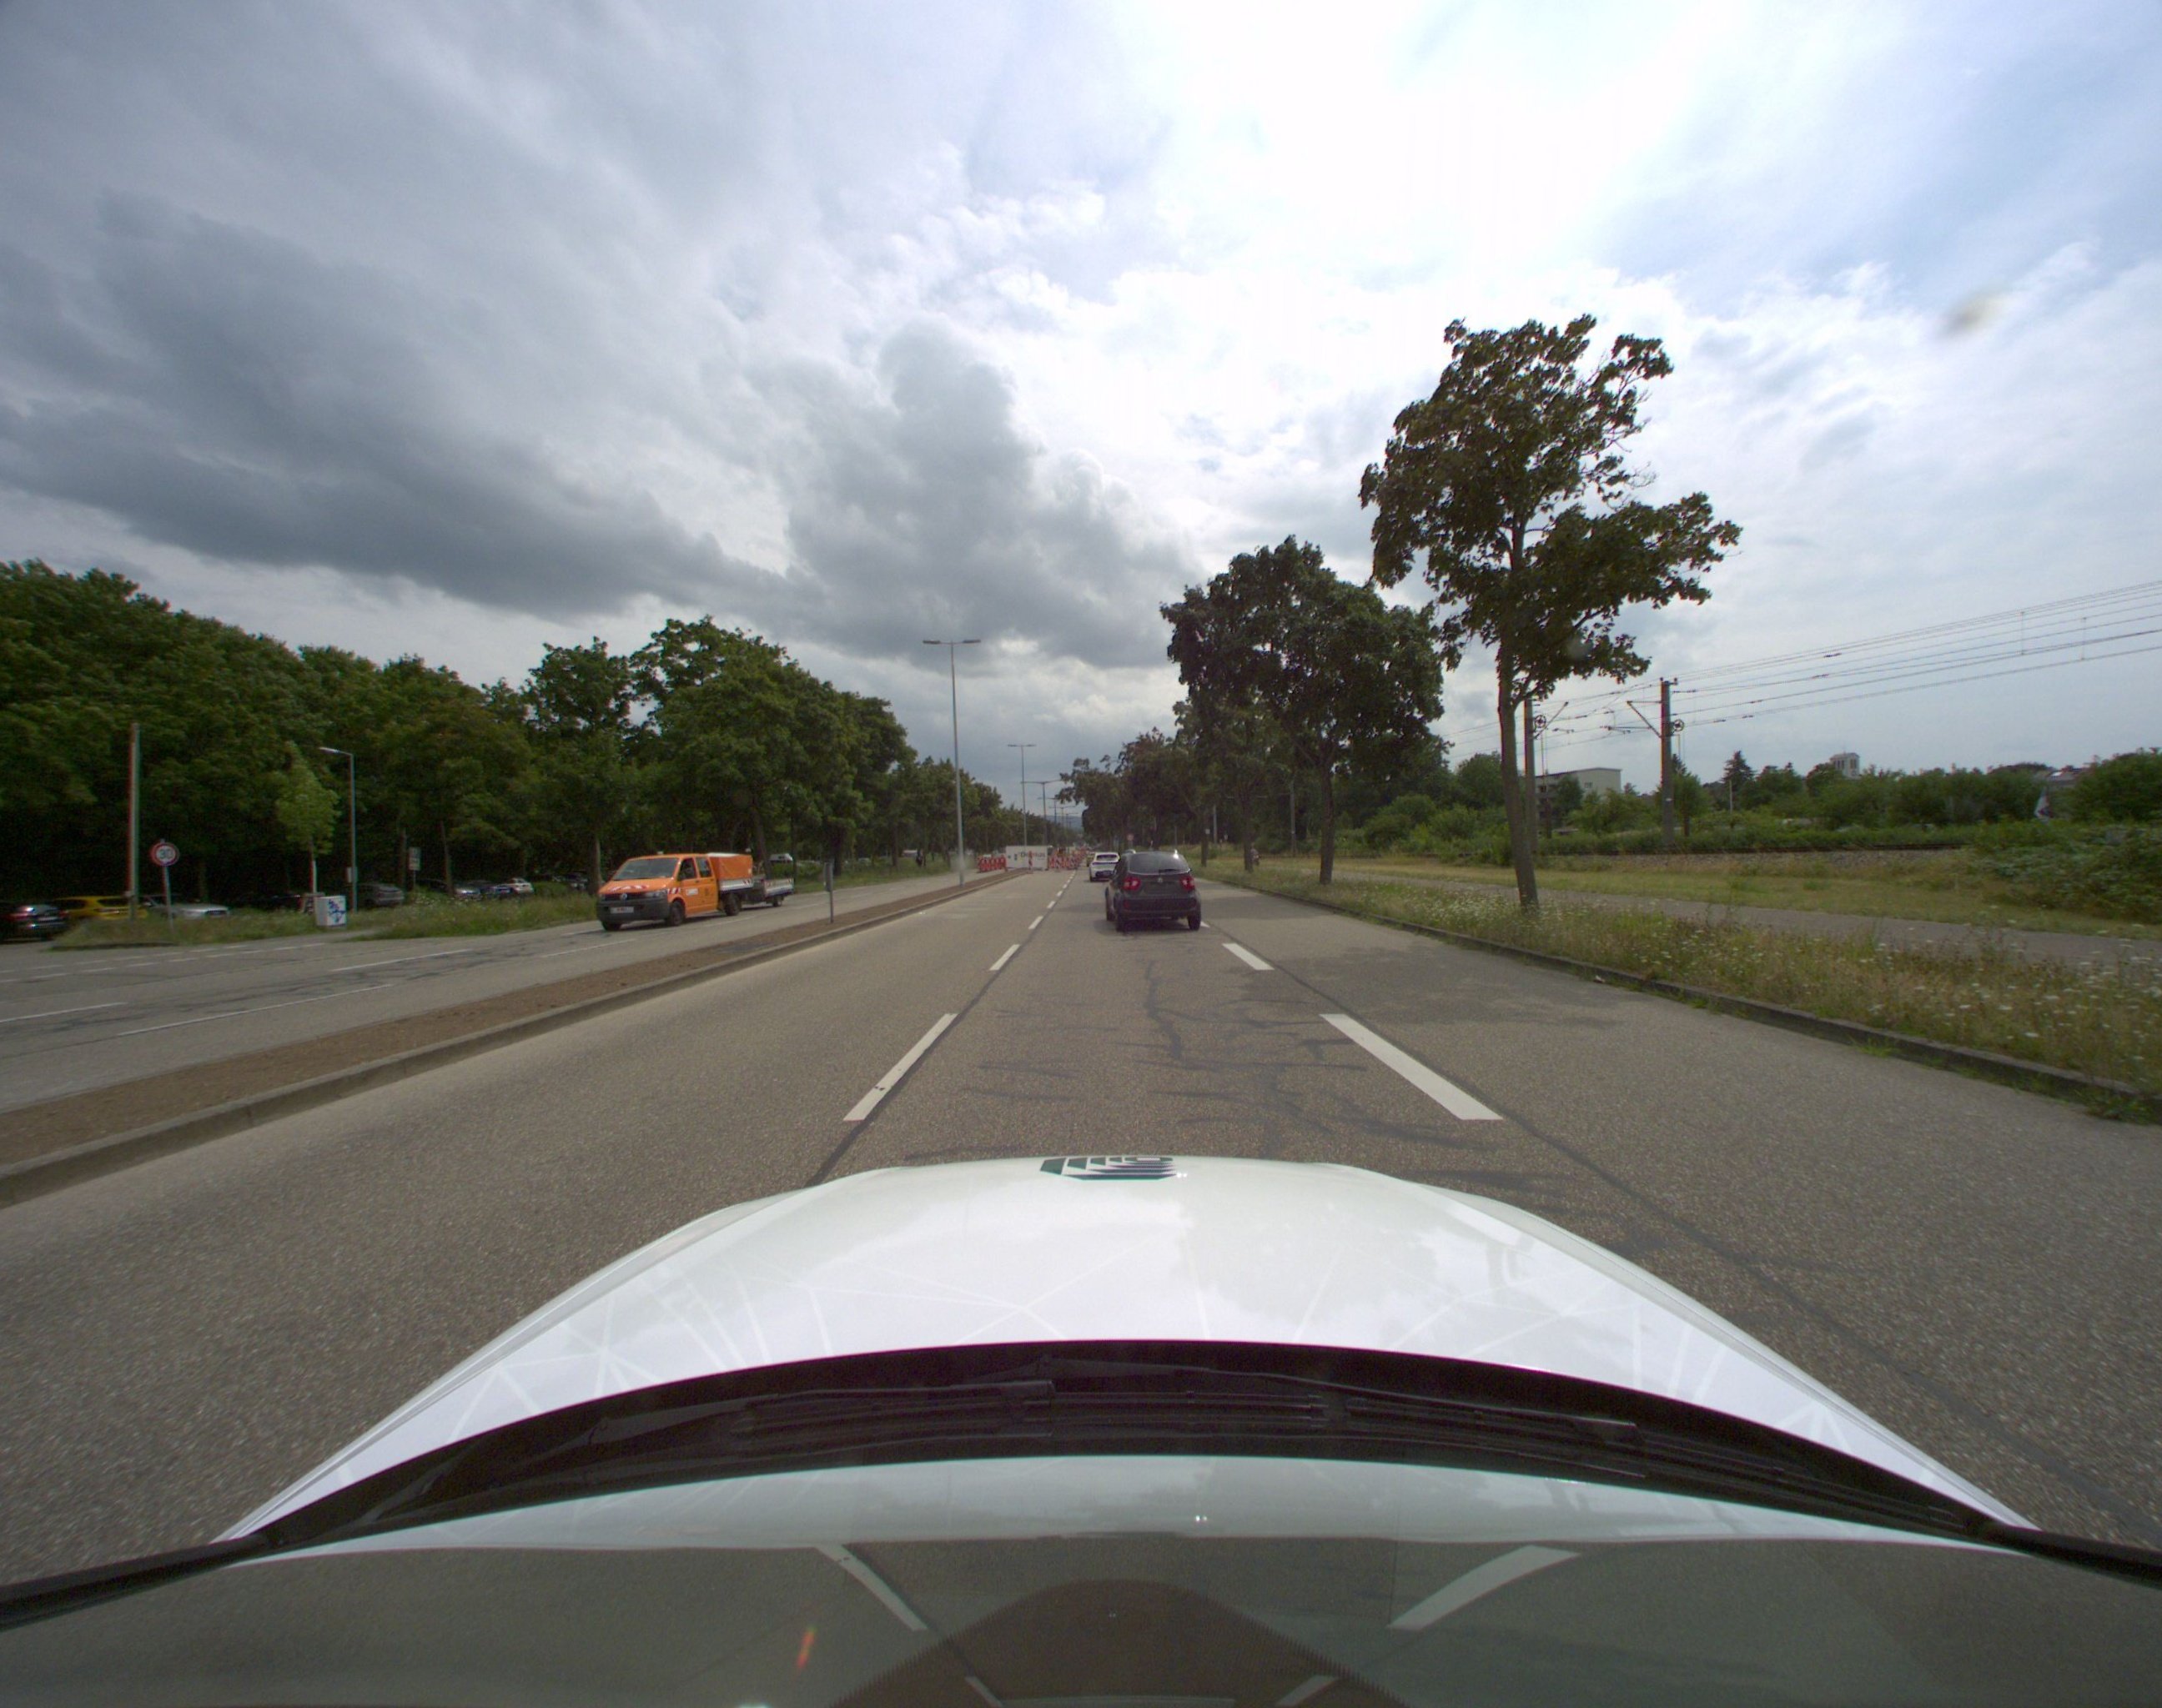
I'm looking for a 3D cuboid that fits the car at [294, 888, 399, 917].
[{"bbox_3d":[-37.702,2.468,41.848,3.972,1.259,1.564,-2,1,1],"label":"car"}]

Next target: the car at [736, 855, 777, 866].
[{"bbox_3d":[-38.484,0.772,96.669,3.973,1.161,1.927,-2,1,1],"label":"car"}]

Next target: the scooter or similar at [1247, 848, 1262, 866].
[{"bbox_3d":[11.412,0.198,53.512,0.680,1.130,0.933,-2,1,-4],"label":"scooter or similar"}]

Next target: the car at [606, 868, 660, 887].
[{"bbox_3d":[-37.552,1.936,68.243,3.634,1.411,1.519,-2,1,3],"label":"car"}]

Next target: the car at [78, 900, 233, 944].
[{"bbox_3d":[-37.416,2.732,32.999,4.163,1.498,1.887,-2,1,2],"label":"car"}]

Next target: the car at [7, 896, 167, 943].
[{"bbox_3d":[-37.735,2.484,30.984,3.971,1.498,1.786,-2,1,2],"label":"car"}]

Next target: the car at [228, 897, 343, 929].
[{"bbox_3d":[-37.293,2.750,38.237,3.694,1.257,1.786,-2,1,2],"label":"car"}]

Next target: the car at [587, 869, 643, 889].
[{"bbox_3d":[-37.700,2.002,65.919,3.634,1.411,1.519,-2,1,3],"label":"car"}]

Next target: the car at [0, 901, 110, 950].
[{"bbox_3d":[-37.668,2.562,29.048,3.971,1.498,1.786,-2,1,2],"label":"car"}]

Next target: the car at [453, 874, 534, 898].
[{"bbox_3d":[-38.422,2.102,53.348,3.970,1.360,1.824,-2,1,3],"label":"car"}]

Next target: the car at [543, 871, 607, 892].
[{"bbox_3d":[-37.760,2.072,60.797,3.630,1.360,1.710,-2,1,3],"label":"car"}]

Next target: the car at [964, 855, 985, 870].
[{"bbox_3d":[-11.838,0.922,90.635,1.684,1.477,4.000,-3,1,1],"label":"car"}]

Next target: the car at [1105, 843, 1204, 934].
[{"bbox_3d":[1.444,0.627,17.301,1.698,1.668,3.999,-2,0,0],"label":"car"}]

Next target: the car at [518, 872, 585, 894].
[{"bbox_3d":[-37.603,2.055,57.909,3.630,1.360,1.710,-2,1,3],"label":"car"}]

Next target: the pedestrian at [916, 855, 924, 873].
[{"bbox_3d":[-16.884,1.066,85.298,0.693,1.838,0.647,-2,1,-21],"label":"pedestrian"}]

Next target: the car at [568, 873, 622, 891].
[{"bbox_3d":[-37.677,2.163,63.206,3.280,1.206,1.519,-2,1,3],"label":"car"}]

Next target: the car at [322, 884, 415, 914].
[{"bbox_3d":[-38.133,2.417,43.621,3.634,1.411,1.519,-2,1,3],"label":"car"}]

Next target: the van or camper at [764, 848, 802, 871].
[{"bbox_3d":[-37.897,0.706,103.571,3.973,2.756,1.927,-2,1,1],"label":"van or camper"}]

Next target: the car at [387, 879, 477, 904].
[{"bbox_3d":[-37.883,2.205,47.583,3.969,1.238,1.669,-2,1,4],"label":"car"}]

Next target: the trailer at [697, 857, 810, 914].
[{"bbox_3d":[-11.119,1.024,27.939,2.054,1.689,3.898,-3,0,3],"label":"trailer"}]

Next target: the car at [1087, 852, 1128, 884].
[{"bbox_3d":[1.288,0.652,41.304,1.762,1.464,3.997,-2,1,-2],"label":"car"}]

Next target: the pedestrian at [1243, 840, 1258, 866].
[{"bbox_3d":[11.342,-0.089,54.448,0.689,1.695,0.933,-2,1,-4],"label":"pedestrian"}]

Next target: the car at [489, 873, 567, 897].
[{"bbox_3d":[-37.868,2.119,55.820,3.967,1.410,2.004,-2,1,6],"label":"car"}]

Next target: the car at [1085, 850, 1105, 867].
[{"bbox_3d":[1.439,0.452,80.299,1.786,1.562,4.003,-2,1,2],"label":"car"}]

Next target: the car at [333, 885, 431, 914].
[{"bbox_3d":[-37.424,2.418,43.636,3.694,1.348,1.786,-2,1,2],"label":"car"}]

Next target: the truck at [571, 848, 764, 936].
[{"bbox_3d":[-11.320,0.911,23.014,2.080,1.994,6.042,-3,1,2],"label":"truck"}]

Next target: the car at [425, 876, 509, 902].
[{"bbox_3d":[-38.166,2.163,50.667,3.970,1.360,1.669,-2,1,3],"label":"car"}]

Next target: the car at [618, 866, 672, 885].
[{"bbox_3d":[-37.961,1.873,70.982,3.634,1.519,1.884,-2,1,3],"label":"car"}]
